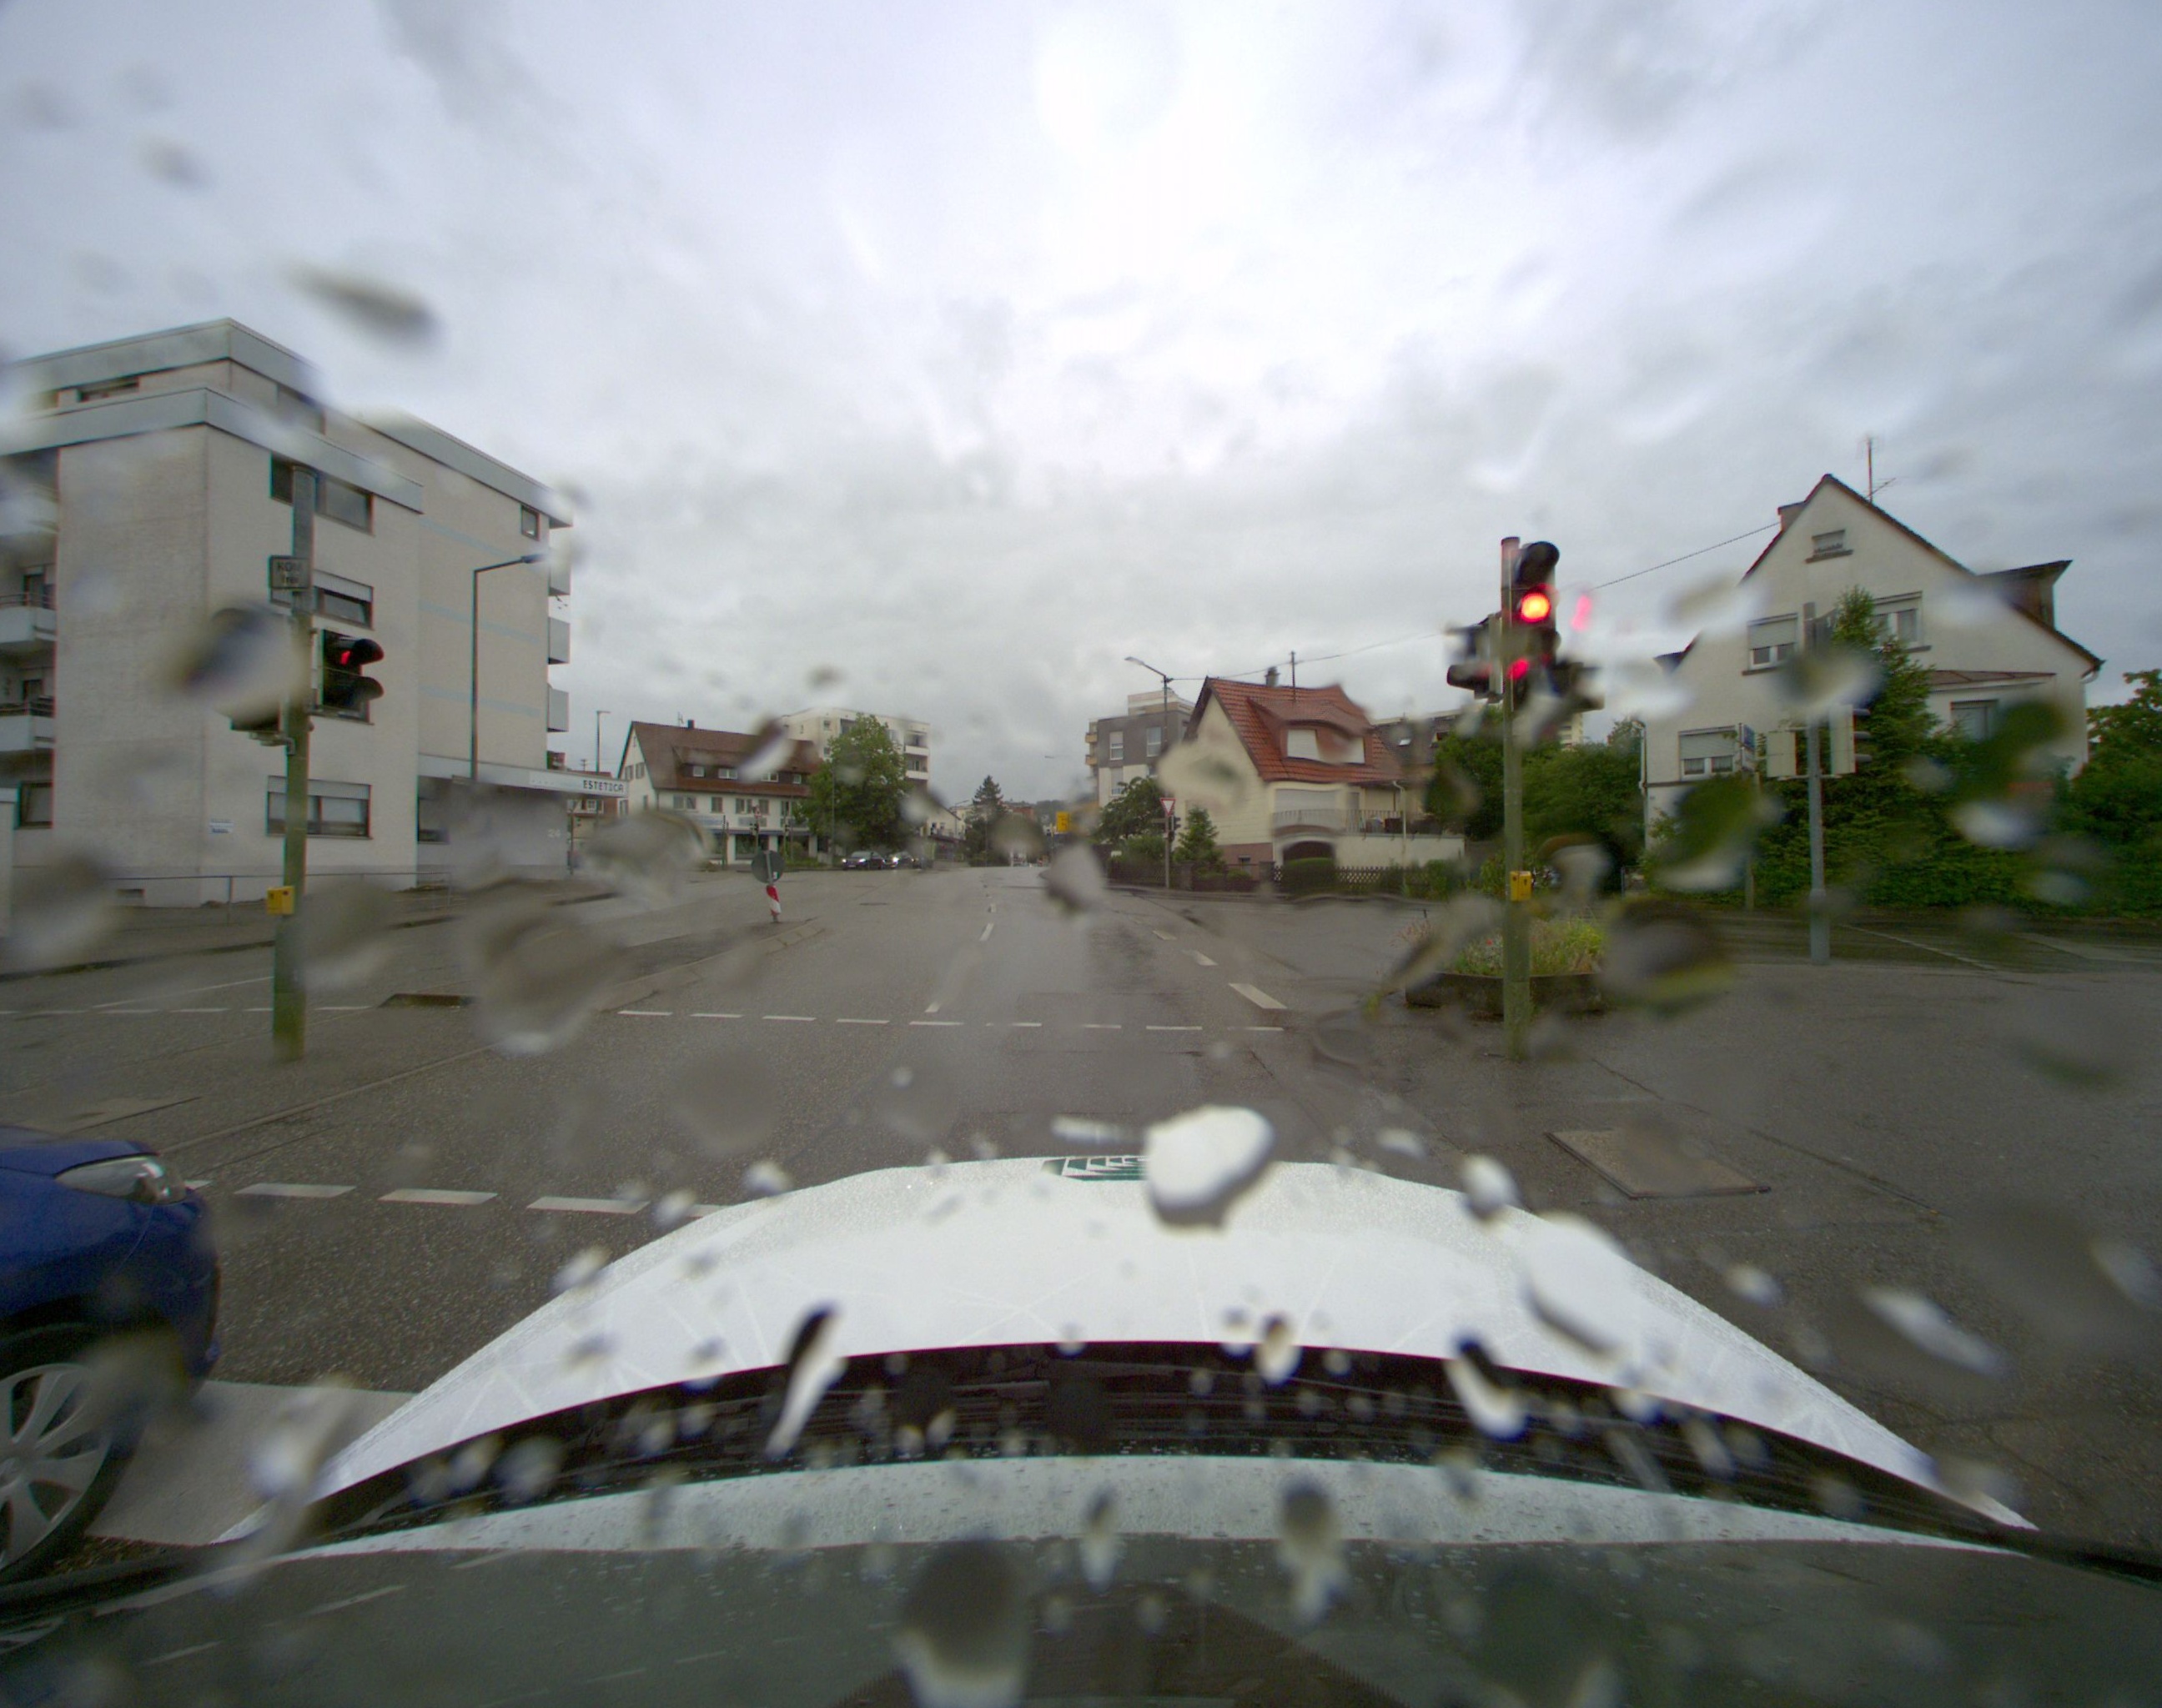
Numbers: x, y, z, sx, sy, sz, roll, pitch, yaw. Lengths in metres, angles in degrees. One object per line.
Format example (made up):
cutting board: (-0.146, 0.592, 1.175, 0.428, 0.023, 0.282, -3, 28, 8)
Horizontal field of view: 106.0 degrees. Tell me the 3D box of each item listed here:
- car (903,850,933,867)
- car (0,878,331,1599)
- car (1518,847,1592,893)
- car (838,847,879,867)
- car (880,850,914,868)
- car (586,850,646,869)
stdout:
car: (-14.360, 0.375, 71.940, 1.772, 1.420, 3.832, 0, 0, 2)
car: (-2.978, 0.781, 0.689, 1.572, 1.410, 3.272, 0, 0, 2)
car: (17.108, 0.517, 29.298, 1.723, 1.514, 4.025, 0, 0, 39)
car: (-15.995, 0.183, 58.762, 1.772, 1.420, 3.832, 0, 0, 2)
car: (-14.932, 0.373, 66.190, 1.708, 1.387, 4.022, 0, 0, 2)
car: (-38.306, 0.417, 67.111, 3.988, 1.572, 1.850, 0, 0, -42)
